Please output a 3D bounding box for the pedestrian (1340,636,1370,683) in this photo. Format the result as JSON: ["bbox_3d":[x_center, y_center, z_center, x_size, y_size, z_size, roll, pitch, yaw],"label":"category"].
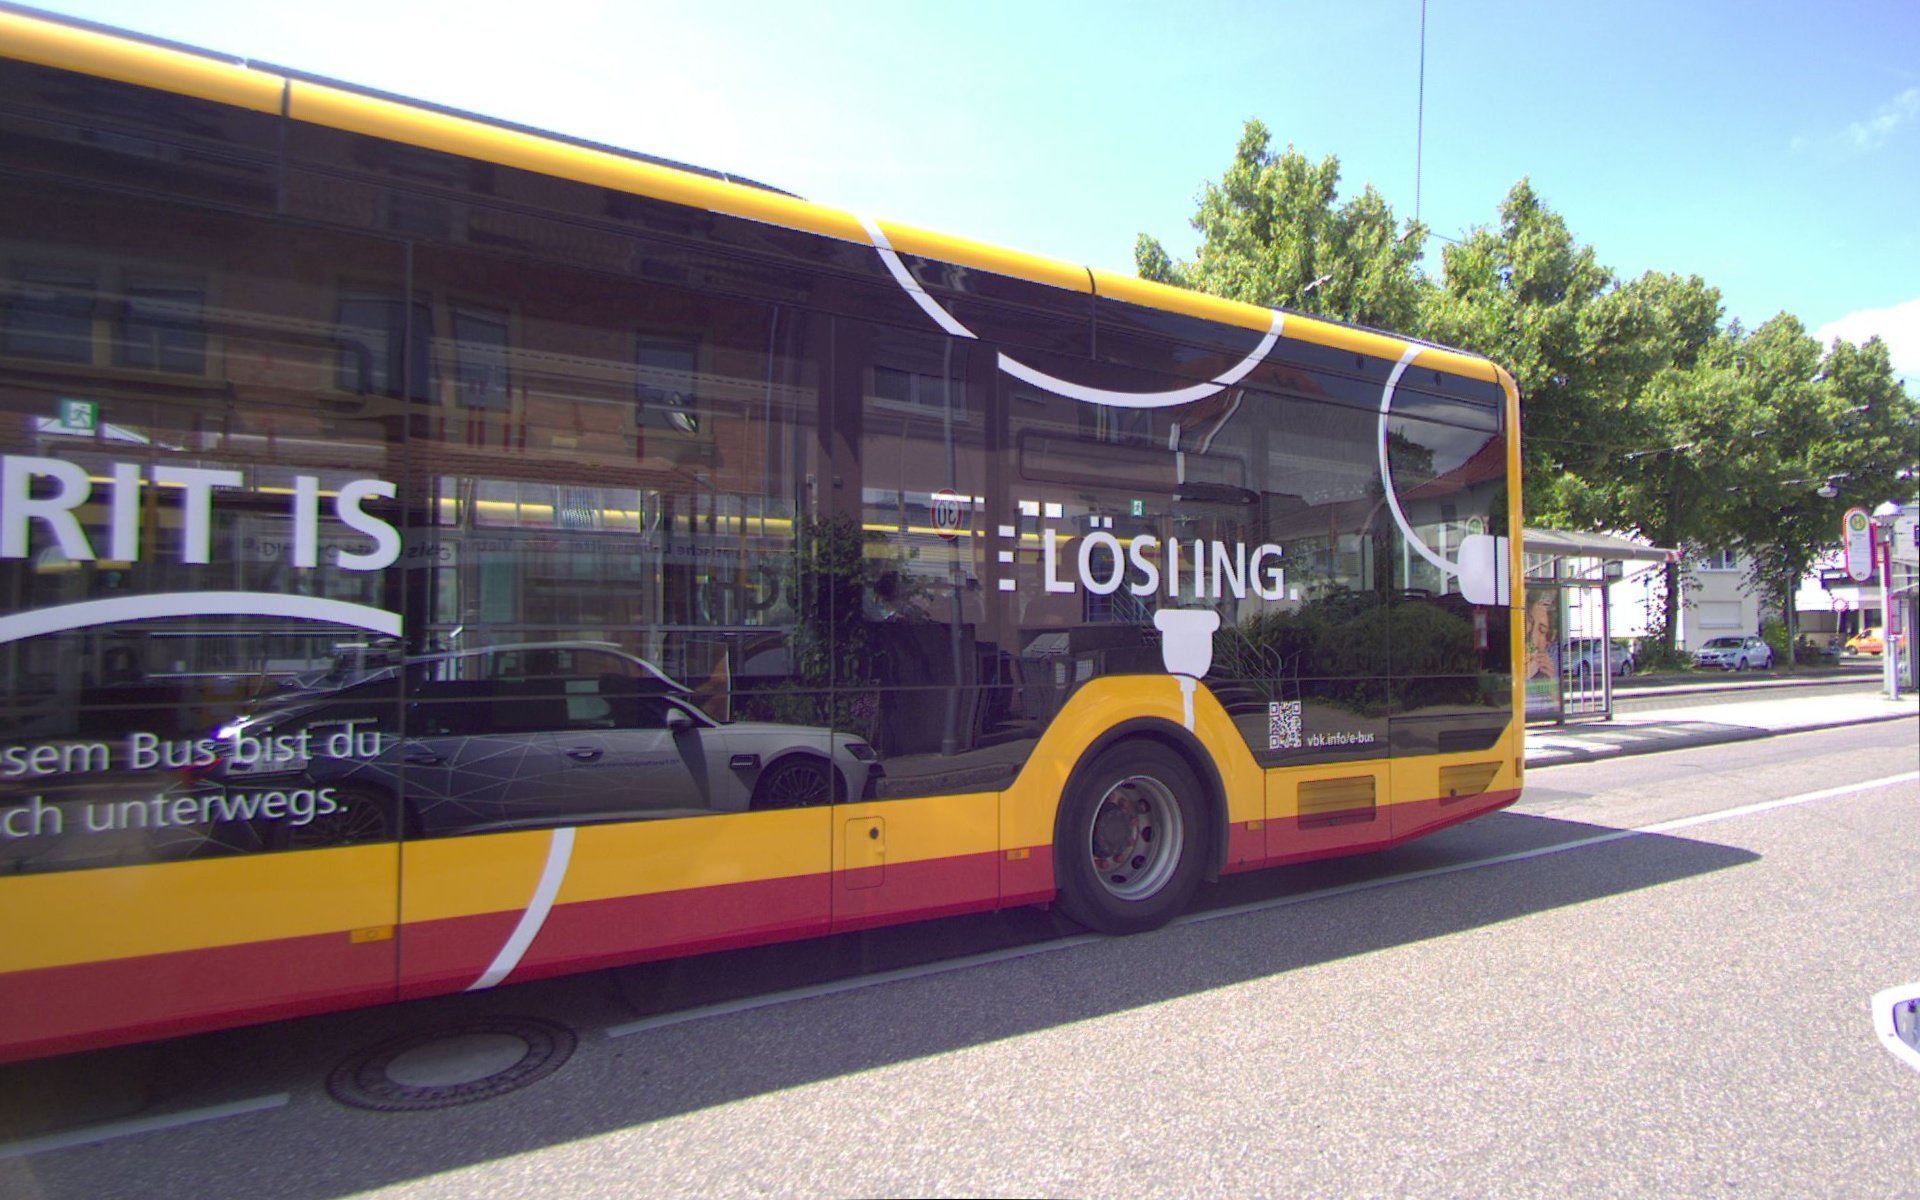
[{"bbox_3d":[10.083,1.514,25.629,0.451,1.153,0.508,2,-1,-27],"label":"pedestrian"}]

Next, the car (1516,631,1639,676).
[{"bbox_3d":[20.797,1.798,33.792,4.350,1.375,1.685,3,-1,-31],"label":"car"}]

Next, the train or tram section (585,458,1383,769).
[{"bbox_3d":[1.296,0.309,16.745,13.831,3.691,2.949,1,0,-31],"label":"train or tram section"}]

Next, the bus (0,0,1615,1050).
[{"bbox_3d":[-1.735,-0.426,4.679,12.054,3.290,2.884,3,-1,-30],"label":"bus"}]

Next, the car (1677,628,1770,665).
[{"bbox_3d":[30.002,1.820,39.447,3.959,1.336,1.704,3,-1,-34],"label":"car"}]

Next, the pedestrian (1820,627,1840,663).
[{"bbox_3d":[50.506,2.590,58.306,0.672,2.040,0.618,2,-1,25],"label":"pedestrian"}]

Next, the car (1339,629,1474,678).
[{"bbox_3d":[12.958,1.547,29.091,3.954,1.290,1.560,3,-1,-31],"label":"car"}]

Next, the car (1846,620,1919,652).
[{"bbox_3d":[62.592,2.439,67.829,1.961,2.040,4.000,2,-1,-1],"label":"car"}]

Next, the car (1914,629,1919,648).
[{"bbox_3d":[65.979,2.638,66.873,1.564,1.239,3.207,2,-1,-12],"label":"car"}]

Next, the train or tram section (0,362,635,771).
[{"bbox_3d":[-11.982,-0.376,8.810,17.150,3.691,2.949,2,0,-31],"label":"train or tram section"}]
